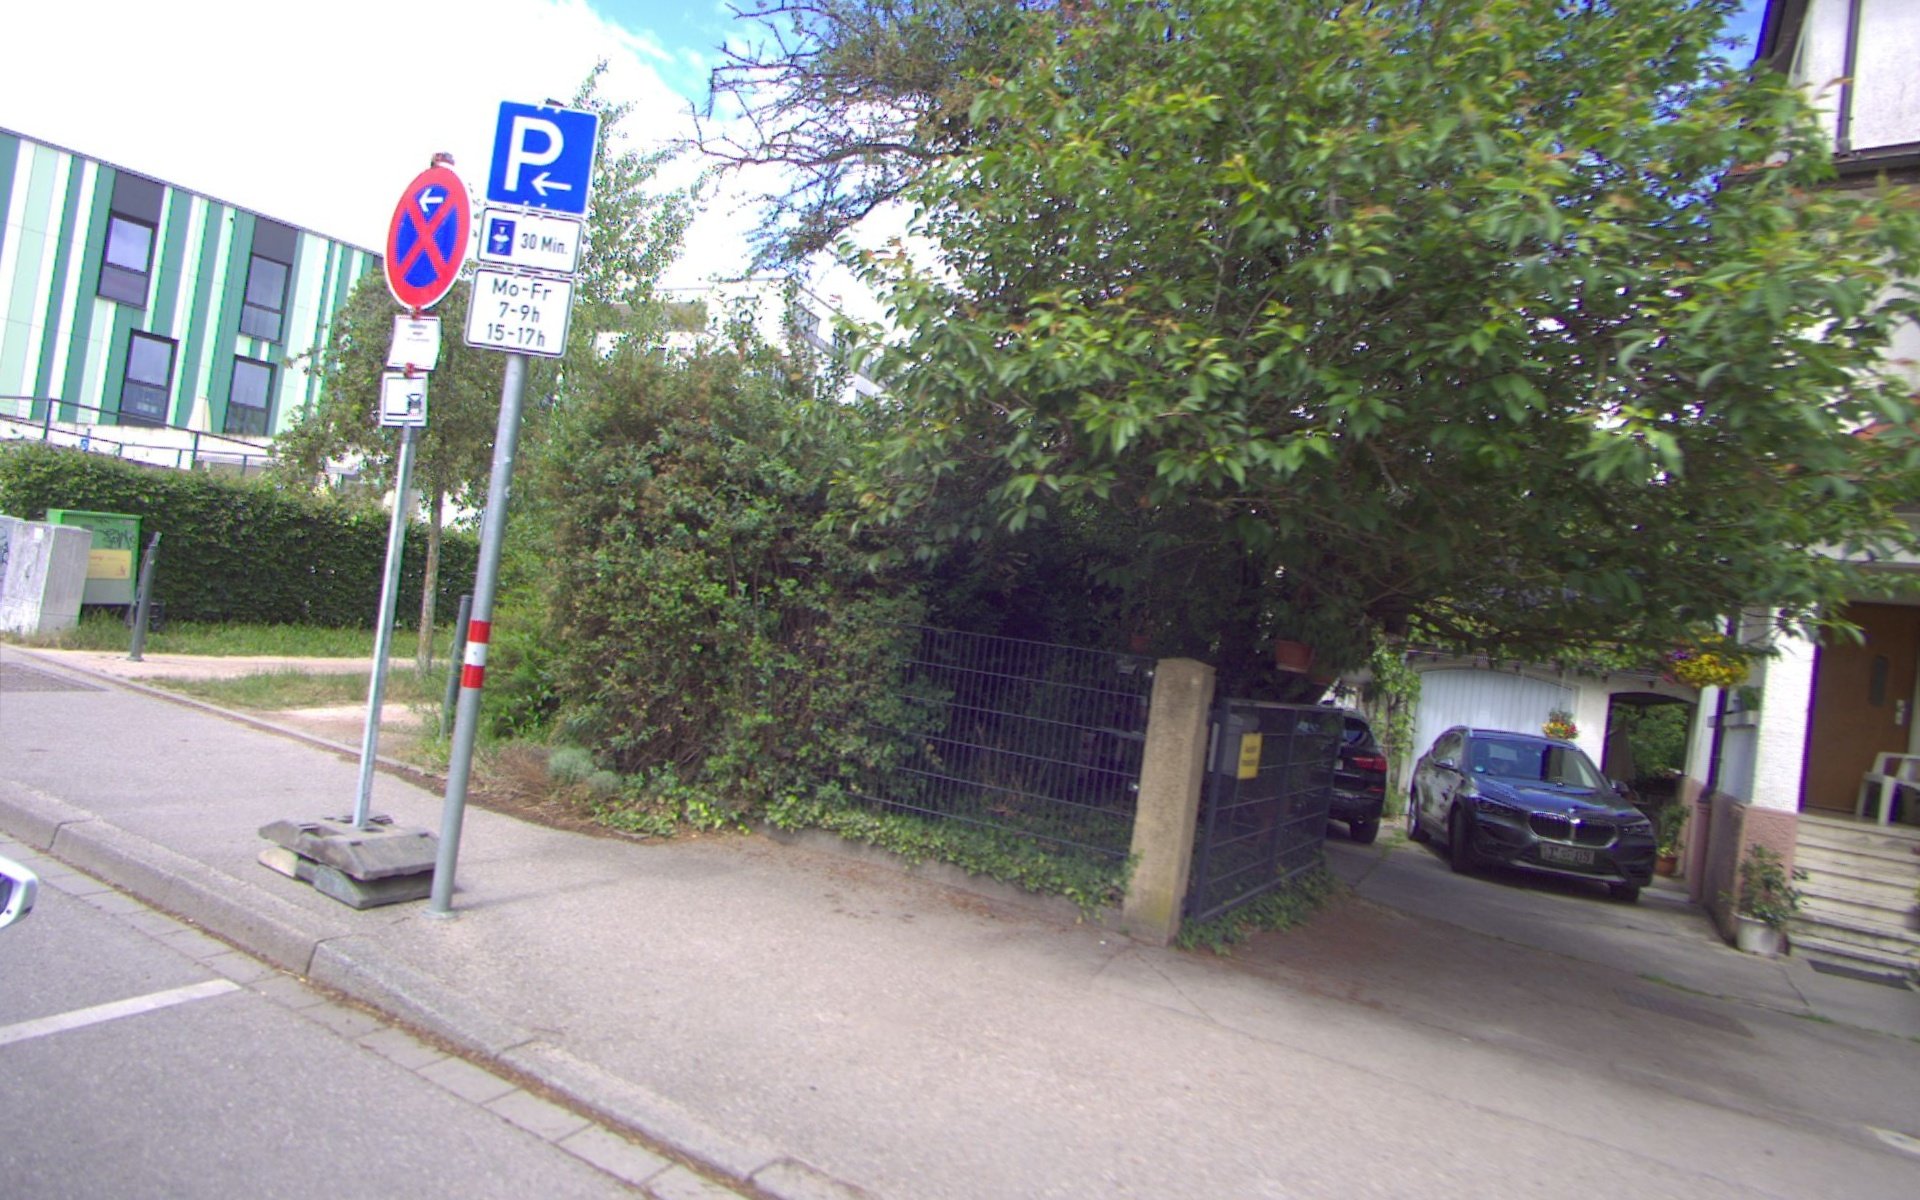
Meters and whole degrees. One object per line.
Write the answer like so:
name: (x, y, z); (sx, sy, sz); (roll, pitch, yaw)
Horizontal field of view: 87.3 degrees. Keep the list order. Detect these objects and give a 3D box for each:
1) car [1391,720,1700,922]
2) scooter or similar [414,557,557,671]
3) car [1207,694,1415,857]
car: (6.495, 2.357, 11.728); (1.846, 1.524, 4.008); (7, -3, 13)
scooter or similar: (-6.448, 0.216, 13.729); (0.810, 1.340, 1.395); (8, -1, 32)
car: (4.463, 2.162, 13.421); (1.962, 1.524, 4.008); (8, -3, 12)
